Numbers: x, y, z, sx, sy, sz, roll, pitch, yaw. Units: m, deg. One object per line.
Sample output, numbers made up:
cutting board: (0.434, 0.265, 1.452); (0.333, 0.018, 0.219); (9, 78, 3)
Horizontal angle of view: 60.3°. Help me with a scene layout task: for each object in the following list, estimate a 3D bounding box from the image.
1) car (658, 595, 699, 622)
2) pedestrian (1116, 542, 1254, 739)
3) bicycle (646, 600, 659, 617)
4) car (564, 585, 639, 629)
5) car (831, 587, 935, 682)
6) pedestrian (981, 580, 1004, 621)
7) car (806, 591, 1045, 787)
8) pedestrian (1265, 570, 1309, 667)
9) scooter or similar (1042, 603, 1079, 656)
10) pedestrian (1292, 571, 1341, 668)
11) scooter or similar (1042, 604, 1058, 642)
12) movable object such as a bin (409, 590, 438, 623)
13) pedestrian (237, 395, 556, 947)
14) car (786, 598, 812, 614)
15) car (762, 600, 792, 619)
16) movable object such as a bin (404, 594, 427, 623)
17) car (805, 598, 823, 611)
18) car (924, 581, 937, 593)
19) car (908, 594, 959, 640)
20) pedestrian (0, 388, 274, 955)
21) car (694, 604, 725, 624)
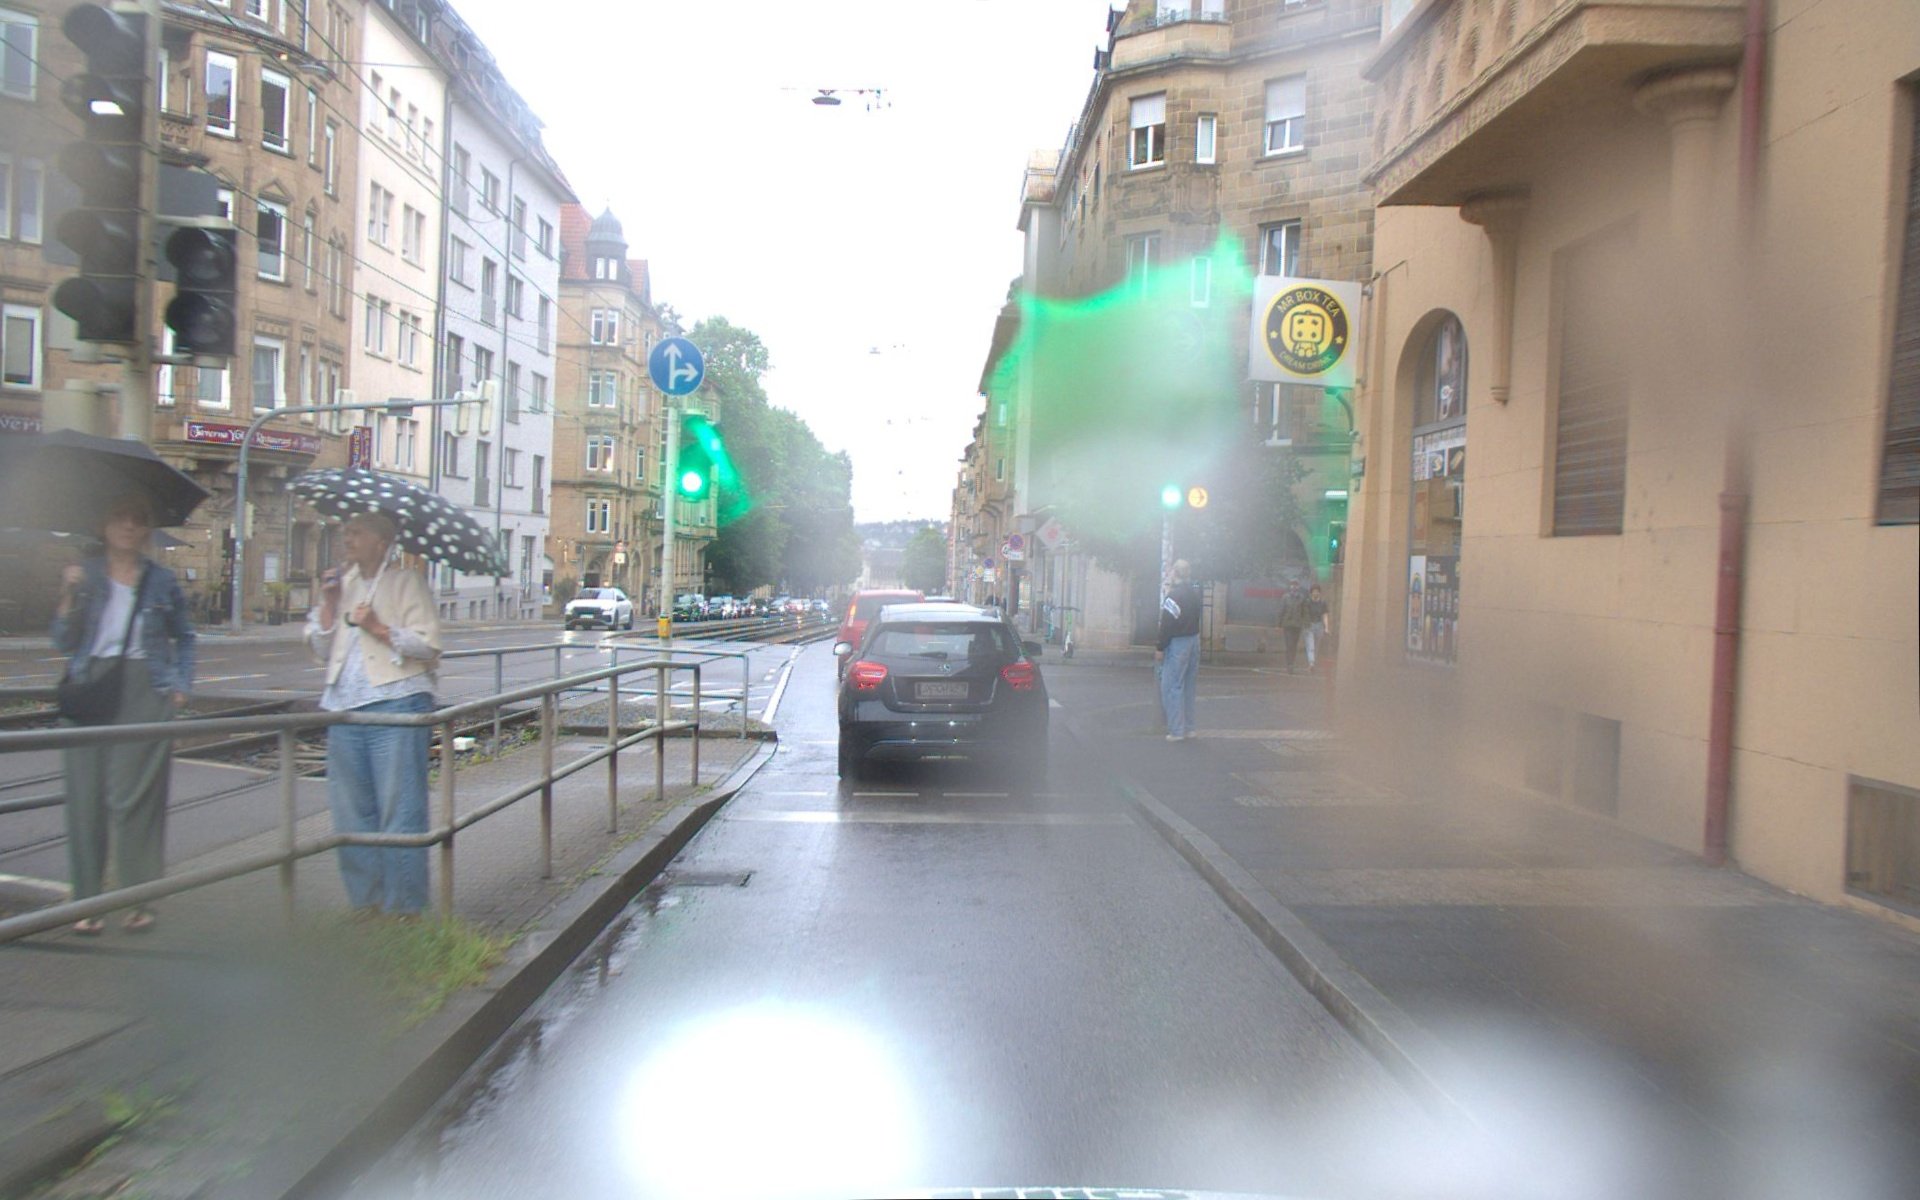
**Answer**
car: (-16.434, 0.491, 96.671); (1.687, 1.568, 3.934); (0, 0, 1)
pedestrian: (2.235, 0.388, 16.454); (0.894, 1.872, 0.955); (-2, 0, -39)
bicycle: (-18.166, 0.501, 97.807); (0.586, 1.018, 2.077); (0, 0, -5)
car: (-14.239, 0.272, 65.982); (1.953, 1.656, 5.251); (0, 0, -1)
car: (-1.346, 0.543, 28.281); (1.617, 1.477, 3.997); (2, 0, -4)
pedestrian: (1.439, 0.017, 73.695); (0.926, 1.800, 1.014); (1, 0, -3)
car: (-0.248, 0.694, 14.927); (1.828, 1.477, 4.000); (2, 0, 1)
pedestrian: (6.231, 0.354, 31.538); (0.582, 1.820, 0.890); (0, 0, -5)
scooter or similar: (2.359, 0.683, 38.929); (0.625, 1.231, 1.551); (0, 0, -5)
pedestrian: (6.803, 0.362, 31.560); (0.668, 1.820, 0.901); (0, 0, -5)
scooter or similar: (2.933, 0.747, 54.110); (0.387, 1.237, 1.106); (1, 0, -3)
movable object such as a bin: (-18.811, 0.218, 57.991); (0.699, 1.092, 0.687); (5, 0, -2)
pedestrian: (-2.238, 0.269, 6.710); (0.907, 2.049, 0.947); (2, 0, -1)
car: (-14.019, 0.512, 144.256); (1.769, 1.384, 4.762); (0, 0, 0)
car: (-14.091, 0.720, 127.662); (1.908, 1.421, 4.273); (0, 0, -1)
movable object such as a bin: (-18.875, 0.296, 57.340); (0.582, 0.927, 0.560); (5, 0, -2)
car: (-16.030, 0.478, 181.678); (1.660, 1.413, 3.481); (0, 0, 0)
car: (-3.733, -1.660, 210.703); (1.581, 1.340, 3.999); (2, 0, -1)
car: (-0.942, 0.589, 59.148); (1.729, 1.586, 4.744); (0, 0, -1)
pedestrian: (-3.369, 0.257, 6.508); (0.879, 2.049, 0.947); (2, 0, -1)
car: (-16.945, 0.929, 111.812); (1.537, 1.339, 3.481); (0, 0, 1)
